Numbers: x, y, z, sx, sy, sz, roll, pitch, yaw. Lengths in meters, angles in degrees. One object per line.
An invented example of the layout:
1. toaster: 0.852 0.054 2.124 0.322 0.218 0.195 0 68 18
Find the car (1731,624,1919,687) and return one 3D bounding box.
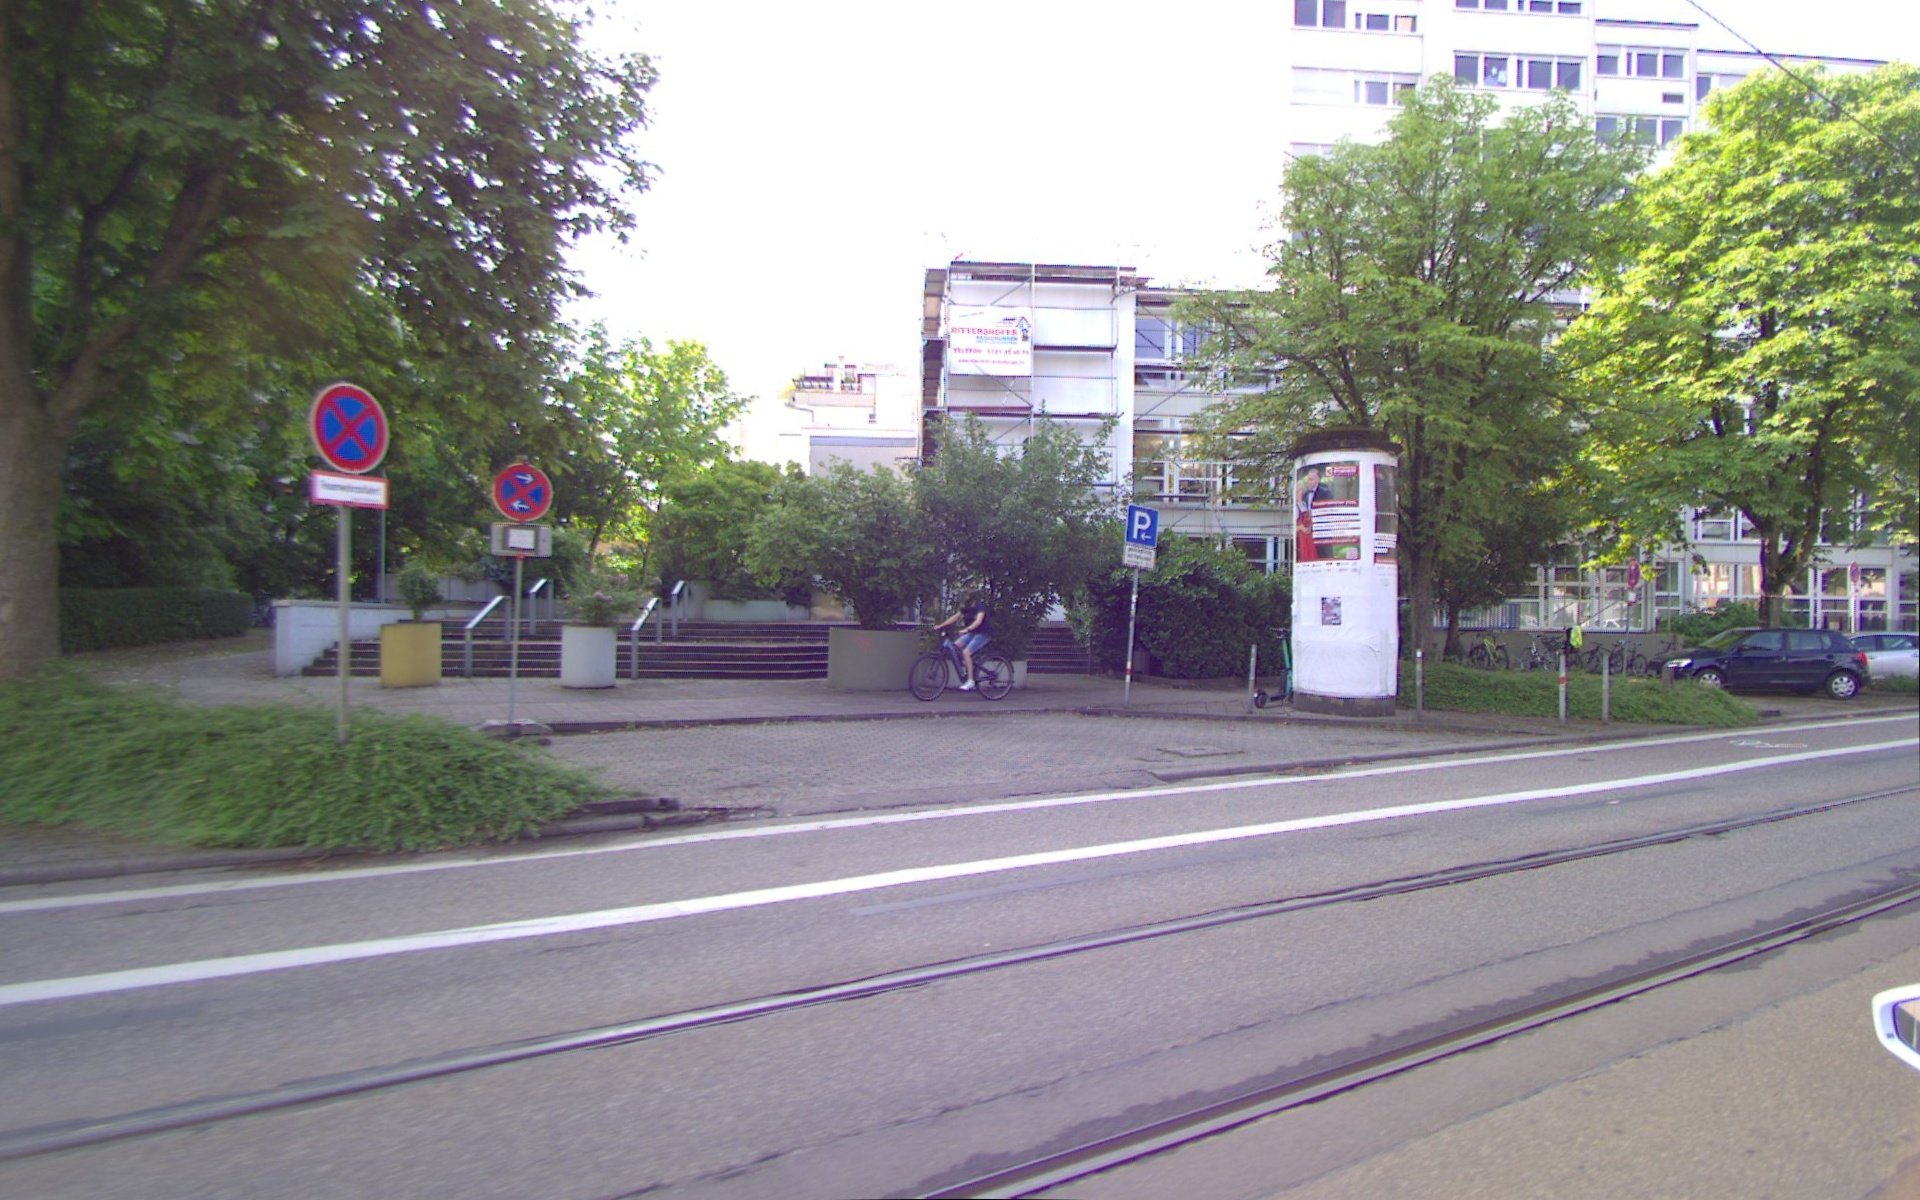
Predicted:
1. car: 22.748 1.409 25.760 4.371 1.445 1.741 1 0 13

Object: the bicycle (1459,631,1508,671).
1. bicycle: 15.627 1.509 30.030 0.428 1.084 1.902 1 0 0

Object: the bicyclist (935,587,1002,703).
1. bicyclist: 0.136 0.681 15.797 0.772 1.763 0.720 1 1 -30

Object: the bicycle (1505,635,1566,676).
1. bicycle: 17.208 1.636 30.087 0.487 1.101 2.055 1 0 -4

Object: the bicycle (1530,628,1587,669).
1. bicycle: 18.075 1.448 30.384 0.487 1.101 2.056 1 0 0

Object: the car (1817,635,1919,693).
1. car: 25.889 1.711 27.166 3.708 1.495 1.726 -2 -2 17

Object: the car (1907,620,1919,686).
1. car: 30.045 1.434 28.196 4.551 1.937 1.933 -3 -2 19

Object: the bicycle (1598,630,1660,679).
1. bicycle: 20.301 1.627 30.529 0.429 1.382 1.900 1 0 -6

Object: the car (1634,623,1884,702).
1. car: 17.502 1.329 22.234 3.920 1.482 1.760 1 0 18

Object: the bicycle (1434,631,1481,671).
1. bicycle: 14.862 1.505 30.059 0.428 1.084 1.902 1 0 0

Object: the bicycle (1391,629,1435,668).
1. bicycle: 13.509 1.432 30.027 0.428 1.084 1.902 1 0 0

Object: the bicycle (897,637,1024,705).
1. bicycle: 0.021 1.084 15.719 1.960 0.993 0.564 1 0 -30

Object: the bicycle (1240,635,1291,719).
1. bicycle: 4.711 1.167 15.570 0.620 1.170 1.509 1 0 13
